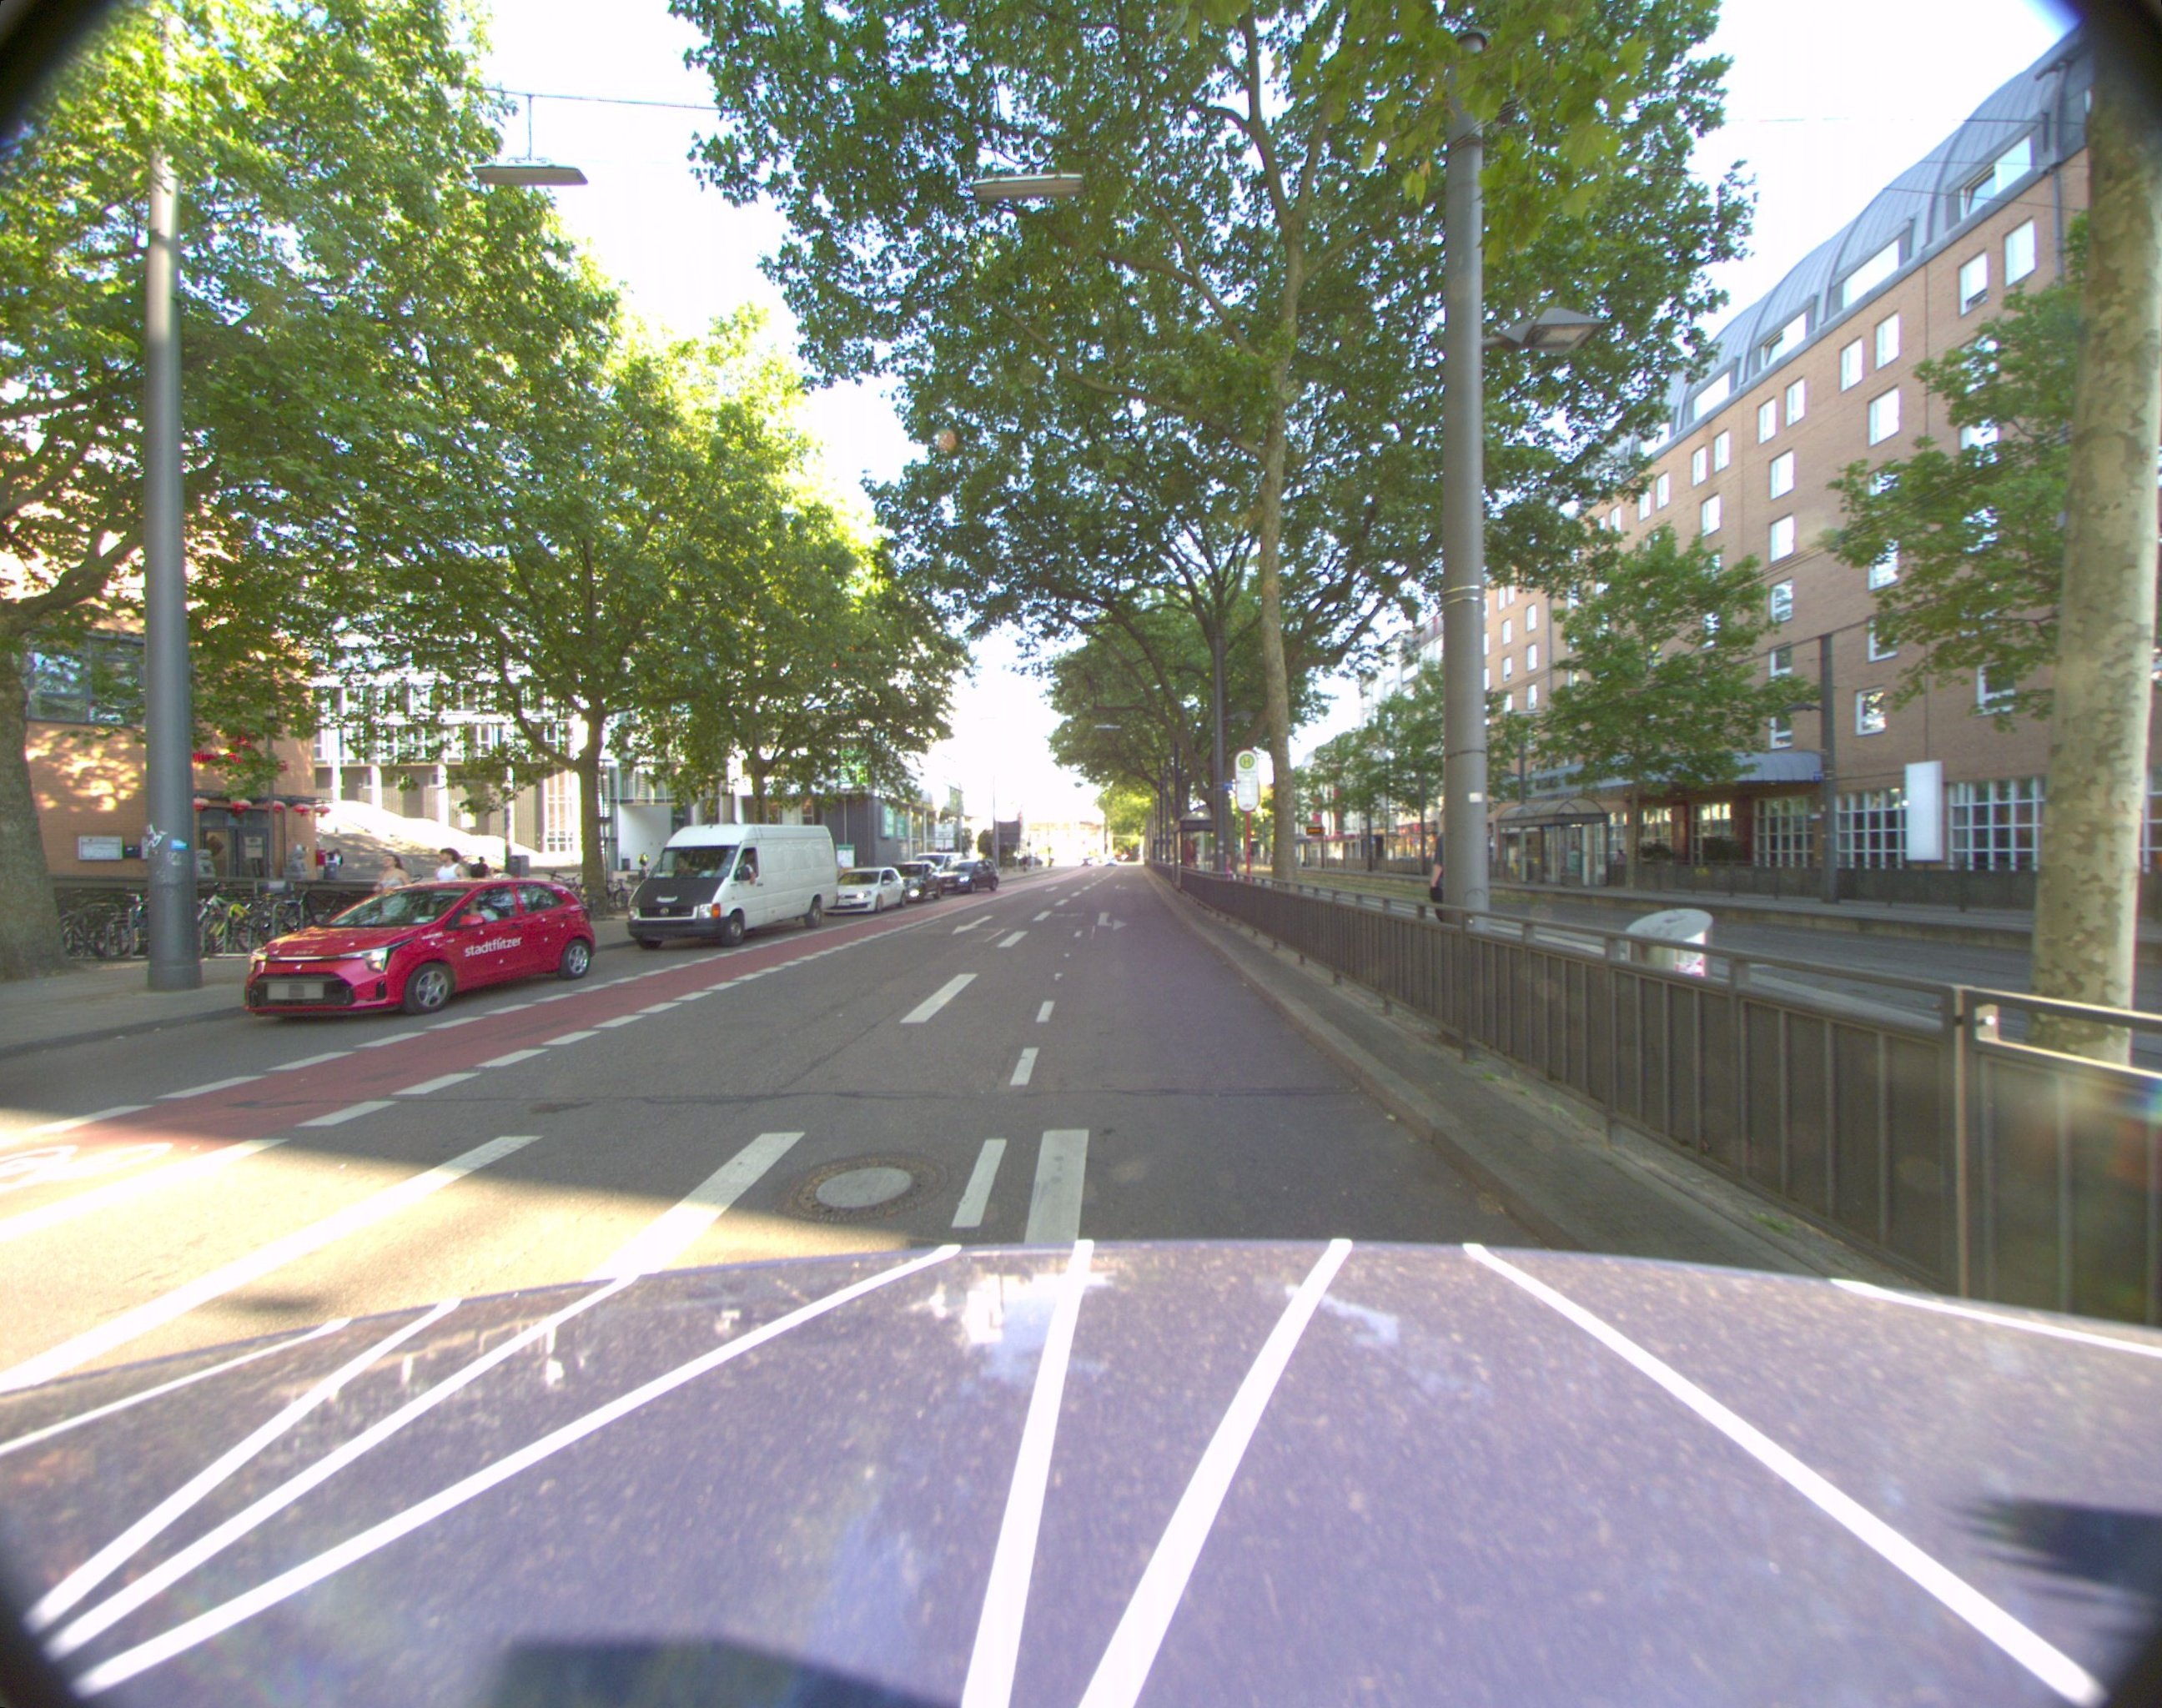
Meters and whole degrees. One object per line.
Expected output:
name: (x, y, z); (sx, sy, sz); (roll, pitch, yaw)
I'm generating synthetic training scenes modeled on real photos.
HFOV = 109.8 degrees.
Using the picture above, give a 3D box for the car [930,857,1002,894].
car: (-5.518, 1.011, 37.173); (1.964, 1.610, 4.335); (-1, 0, 14)

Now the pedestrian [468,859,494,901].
pedestrian: (-22.756, 0.973, 28.813); (0.719, 1.549, 0.639); (-1, 1, -35)

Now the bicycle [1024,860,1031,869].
bicycle: (-5.525, 1.104, 79.166); (0.580, 0.879, 1.671); (-1, 0, 1)

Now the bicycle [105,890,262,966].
bicycle: (-15.426, 1.233, 13.140); (0.485, 1.118, 1.850); (0, 0, 1)

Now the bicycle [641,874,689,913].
bicycle: (-13.573, 1.265, 24.848); (0.522, 1.187, 1.850); (0, 0, 1)

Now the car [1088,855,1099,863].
car: (2.426, 0.905, 146.098); (1.801, 1.438, 4.001); (0, 0, 3)

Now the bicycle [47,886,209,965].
bicycle: (-16.388, 1.194, 13.145); (0.435, 1.187, 1.850); (0, 0, 1)

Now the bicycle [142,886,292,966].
bicycle: (-14.844, 1.196, 13.132); (0.447, 1.187, 1.850); (0, 0, 1)

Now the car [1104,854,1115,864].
car: (4.489, 0.762, 119.499); (1.733, 1.432, 4.000); (-2, 0, 2)

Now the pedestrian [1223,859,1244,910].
pedestrian: (3.931, 0.774, 19.630); (0.500, 1.308, 0.419); (0, 1, 8)

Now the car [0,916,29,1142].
car: (-7.992, 1.170, 2.995); (1.743, 1.476, 4.251); (-1, 0, 0)

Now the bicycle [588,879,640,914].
bicycle: (-15.221, 1.361, 24.801); (0.516, 1.027, 1.850); (0, 0, 1)

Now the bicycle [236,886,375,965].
bicycle: (-13.319, 1.190, 13.135); (0.482, 1.187, 1.850); (0, 0, 1)

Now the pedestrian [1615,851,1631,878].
pedestrian: (28.708, 0.556, 40.243); (0.519, 1.427, 0.516); (0, 1, 4)

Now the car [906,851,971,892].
car: (-7.492, 0.858, 40.394); (1.965, 1.983, 4.960); (-1, 0, 7)

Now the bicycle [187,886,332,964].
bicycle: (-14.327, 1.197, 13.332); (0.484, 1.187, 1.850); (0, 0, 1)

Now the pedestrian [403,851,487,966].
pedestrian: (-10.665, 0.897, 12.769); (0.643, 1.834, 0.814); (3, 0, -4)

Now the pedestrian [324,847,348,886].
pedestrian: (-38.977, 0.629, 39.756); (0.878, 2.025, 0.584); (-1, 1, -43)

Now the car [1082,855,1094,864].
car: (1.181, 0.938, 131.325); (1.801, 1.369, 4.001); (0, 0, 3)

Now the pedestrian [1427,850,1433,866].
pedestrian: (32.562, 0.400, 70.877); (0.438, 1.497, 0.659); (0, 1, 23)

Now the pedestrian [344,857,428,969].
pedestrian: (-11.378, 0.930, 12.458); (0.648, 1.766, 0.764); (-1, 1, -6)

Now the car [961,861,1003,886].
car: (-5.979, 1.172, 46.426); (1.801, 1.369, 4.001); (0, 0, 3)

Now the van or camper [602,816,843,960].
van or camper: (-7.552, 0.618, 17.103); (1.998, 2.563, 6.575); (-2, 0, 3)

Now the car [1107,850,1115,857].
car: (8.012, -0.129, 205.282); (1.998, 2.002, 4.001); (0, 0, 4)

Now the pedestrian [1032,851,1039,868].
pedestrian: (-5.100, 0.611, 85.124); (0.676, 1.853, 0.741); (-2, 1, 1)

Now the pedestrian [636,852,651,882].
pedestrian: (-31.564, 0.921, 54.838); (0.836, 2.144, 0.858); (-1, 1, -23)

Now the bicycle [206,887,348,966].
bicycle: (-13.822, 1.201, 13.141); (0.448, 1.187, 1.850); (0, 0, 1)

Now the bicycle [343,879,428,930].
bicycle: (-17.884, 1.283, 19.599); (0.517, 1.187, 1.790); (0, 0, 1)

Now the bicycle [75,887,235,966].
bicycle: (-15.925, 1.200, 13.142); (0.458, 1.187, 1.850); (0, 0, 1)

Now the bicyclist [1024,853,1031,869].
bicyclist: (-5.548, 0.715, 79.203); (0.673, 1.707, 0.715); (-1, 1, 1)

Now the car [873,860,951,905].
car: (-6.716, 1.079, 30.603); (1.818, 1.610, 4.229); (-1, 0, 5)

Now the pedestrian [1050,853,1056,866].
pedestrian: (-3.985, 0.780, 108.436); (0.676, 1.853, 0.741); (-2, 1, 1)

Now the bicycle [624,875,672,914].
bicycle: (-14.116, 1.294, 24.827); (0.495, 1.187, 1.850); (0, 0, 1)

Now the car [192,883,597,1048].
car: (-7.946, 1.175, 9.331); (1.606, 1.449, 3.651); (-1, 0, 0)

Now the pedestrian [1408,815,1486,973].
pedestrian: (4.507, 0.464, 9.384); (0.607, 1.873, 0.622); (-2, 3, -14)

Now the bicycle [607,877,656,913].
bicycle: (-14.660, 1.316, 24.825); (0.522, 1.088, 1.797); (0, 0, 1)

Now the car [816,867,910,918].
car: (-7.019, 1.184, 24.844); (1.682, 1.420, 4.001); (-1, 0, 3)

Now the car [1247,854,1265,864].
car: (27.288, 0.789, 118.650); (1.998, 1.510, 4.000); (-1, 0, 2)
